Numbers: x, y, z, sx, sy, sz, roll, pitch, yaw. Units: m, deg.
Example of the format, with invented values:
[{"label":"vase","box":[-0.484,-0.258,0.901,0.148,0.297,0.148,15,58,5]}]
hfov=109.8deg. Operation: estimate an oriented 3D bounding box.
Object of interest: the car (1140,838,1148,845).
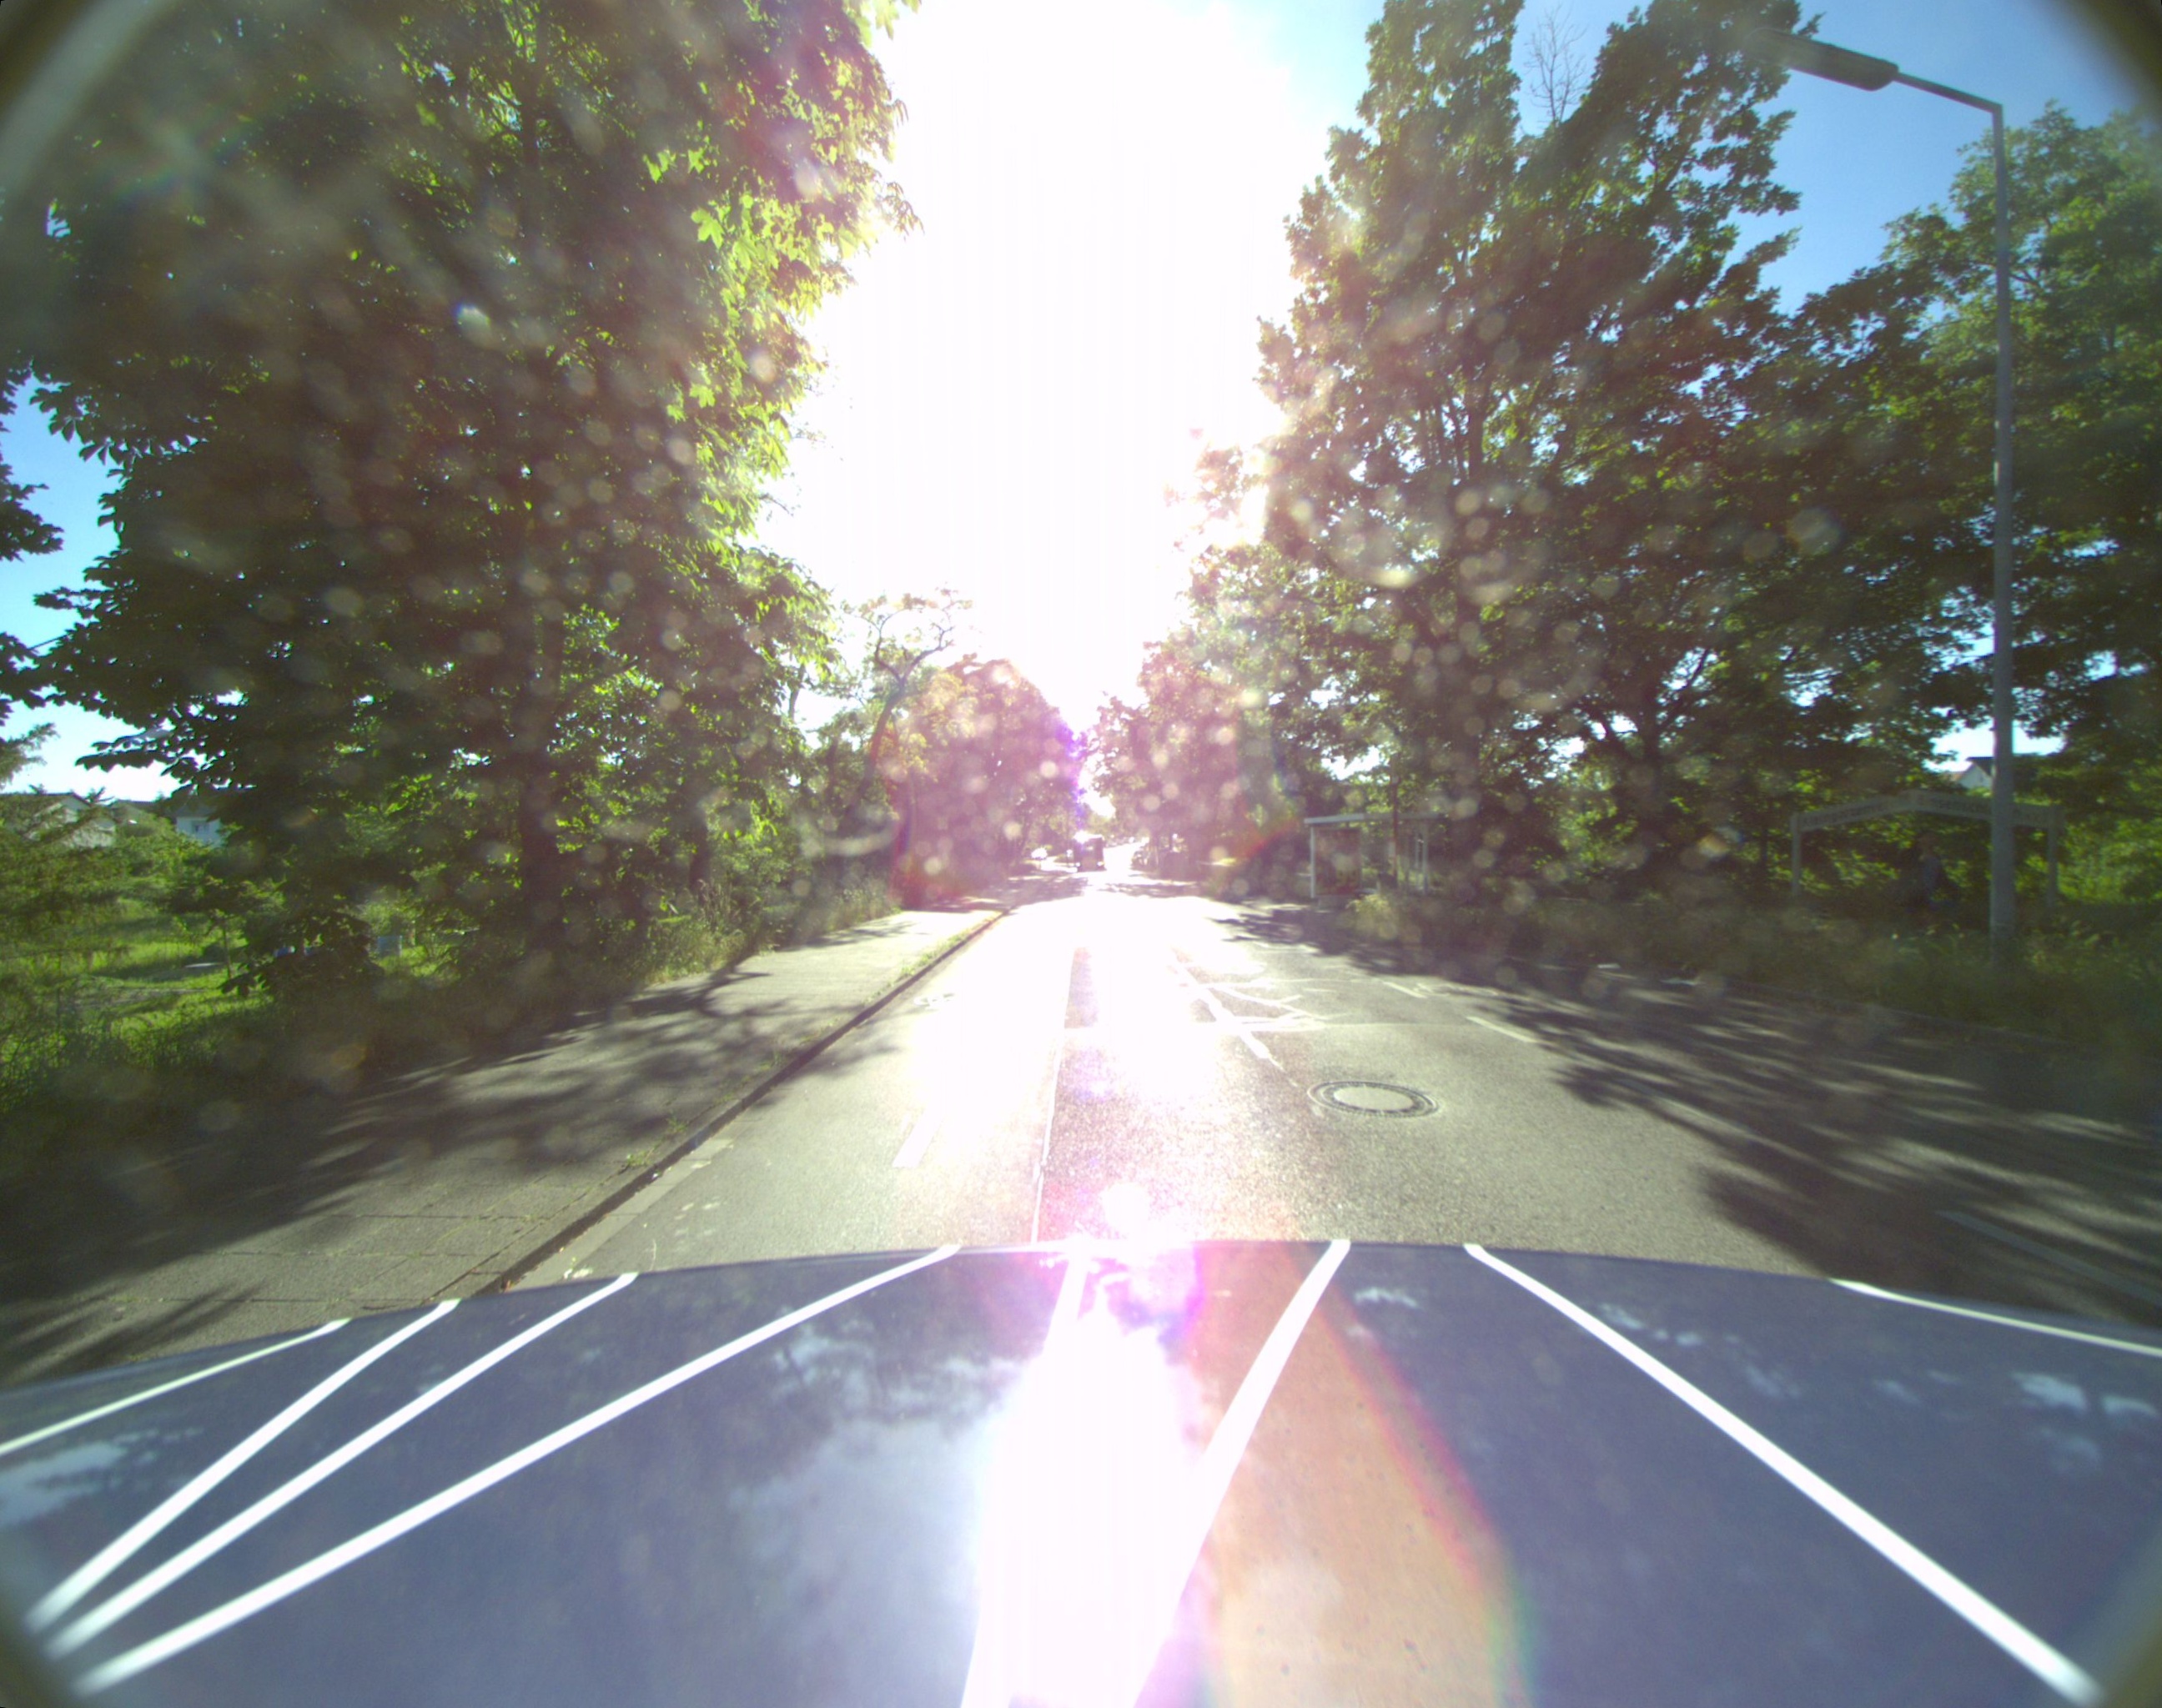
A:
[{"label":"car","box":[17.273,-3.473,207.538,1.817,1.769,3.903,-2,1,1]}]

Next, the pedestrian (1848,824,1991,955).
[{"label":"pedestrian","box":[11.339,0.464,10.314,0.915,1.678,0.891,-2,0,2]}]

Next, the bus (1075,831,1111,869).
[{"label":"bus","box":[0.932,-0.319,69.047,2.790,2.965,12.893,-2,0,-1]}]
